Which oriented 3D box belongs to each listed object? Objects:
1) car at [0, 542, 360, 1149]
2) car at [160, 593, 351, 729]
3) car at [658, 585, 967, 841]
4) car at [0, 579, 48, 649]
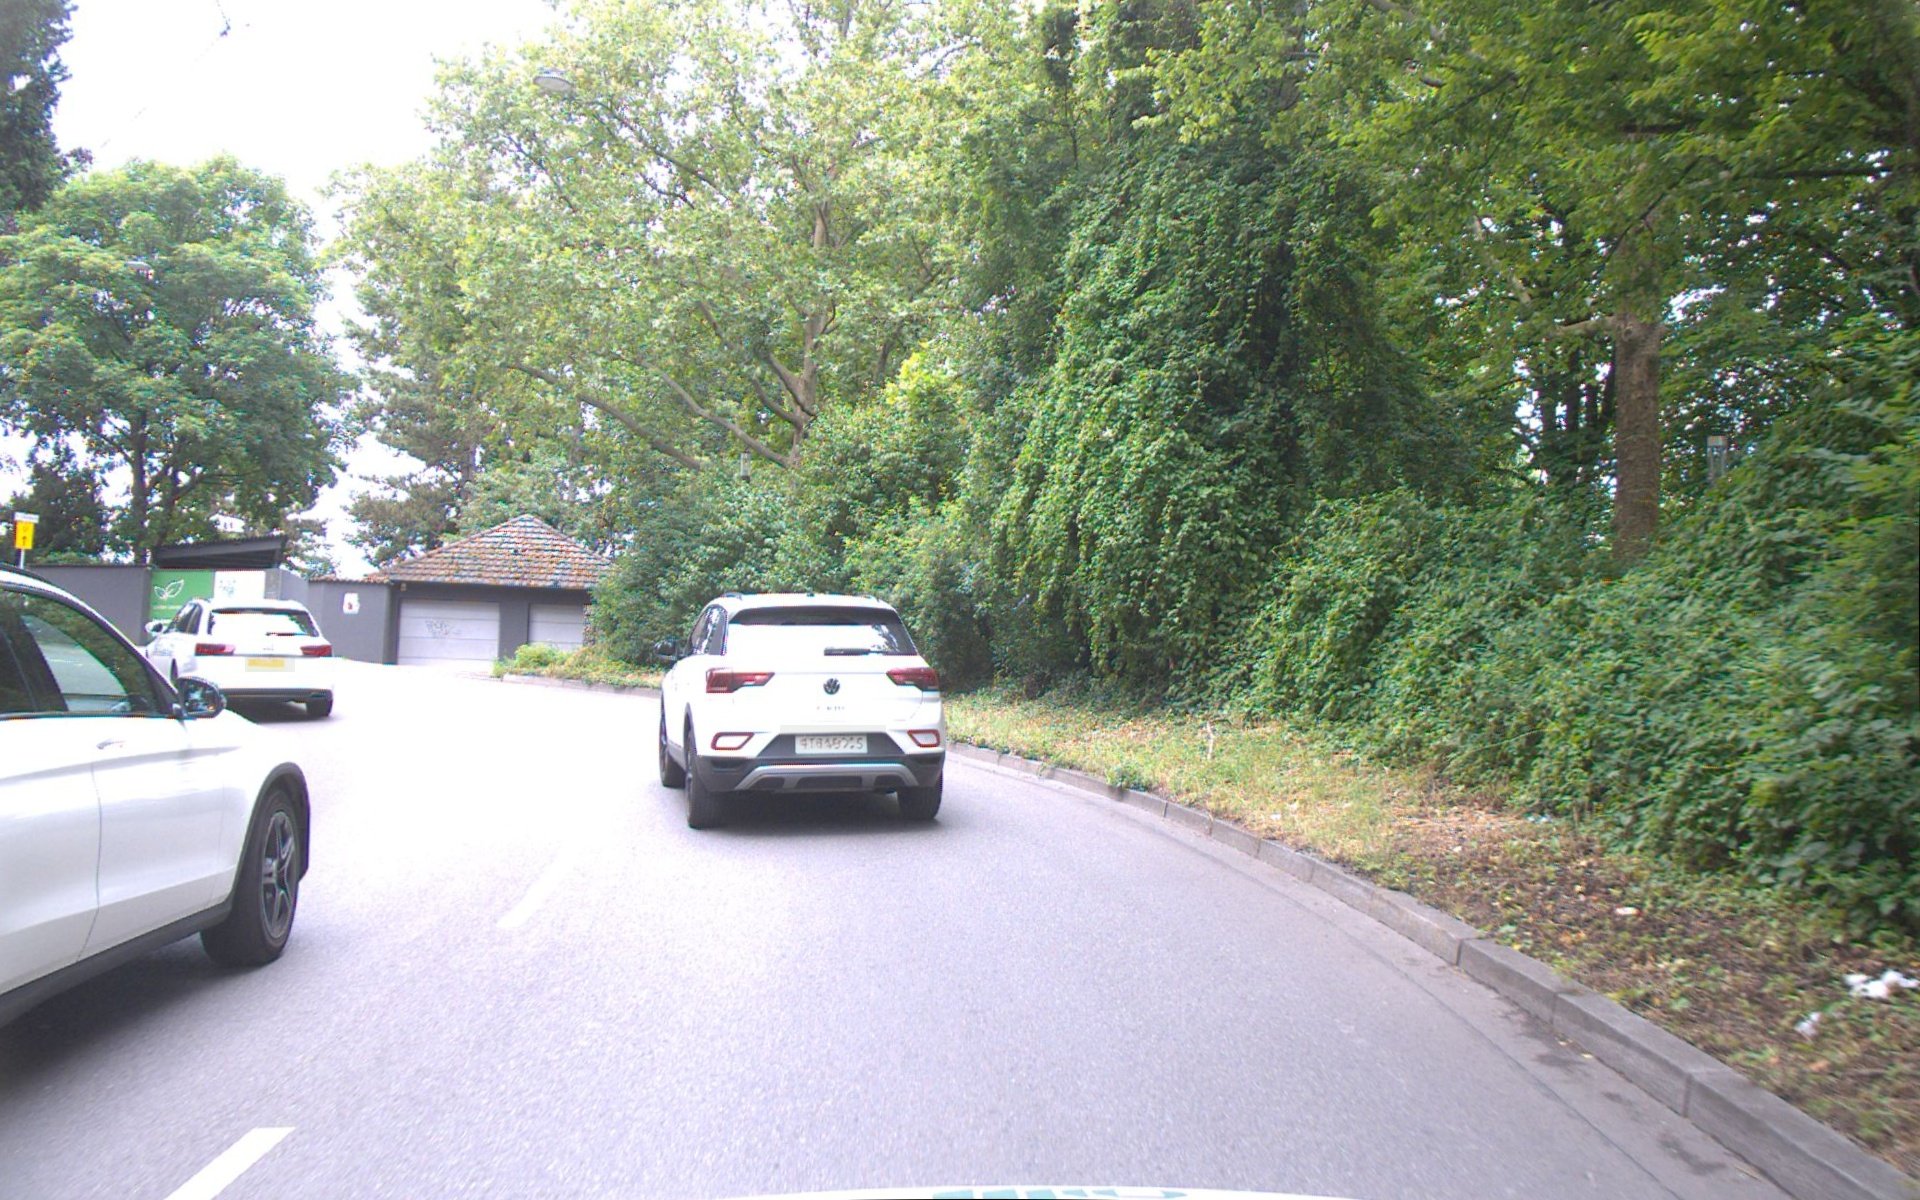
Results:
[{"bbox_3d":[-3.557,0.680,5.282,1.822,1.634,4.667,-1,-1,-4],"label":"car"},{"bbox_3d":[-9.349,0.700,21.730,1.844,1.561,4.730,0,0,-29],"label":"car"},{"bbox_3d":[-1.308,0.713,12.697,1.725,1.580,4.322,-1,0,-14],"label":"car"},{"bbox_3d":[-21.879,0.206,35.956,3.767,1.444,1.632,3,-2,25],"label":"car"}]
